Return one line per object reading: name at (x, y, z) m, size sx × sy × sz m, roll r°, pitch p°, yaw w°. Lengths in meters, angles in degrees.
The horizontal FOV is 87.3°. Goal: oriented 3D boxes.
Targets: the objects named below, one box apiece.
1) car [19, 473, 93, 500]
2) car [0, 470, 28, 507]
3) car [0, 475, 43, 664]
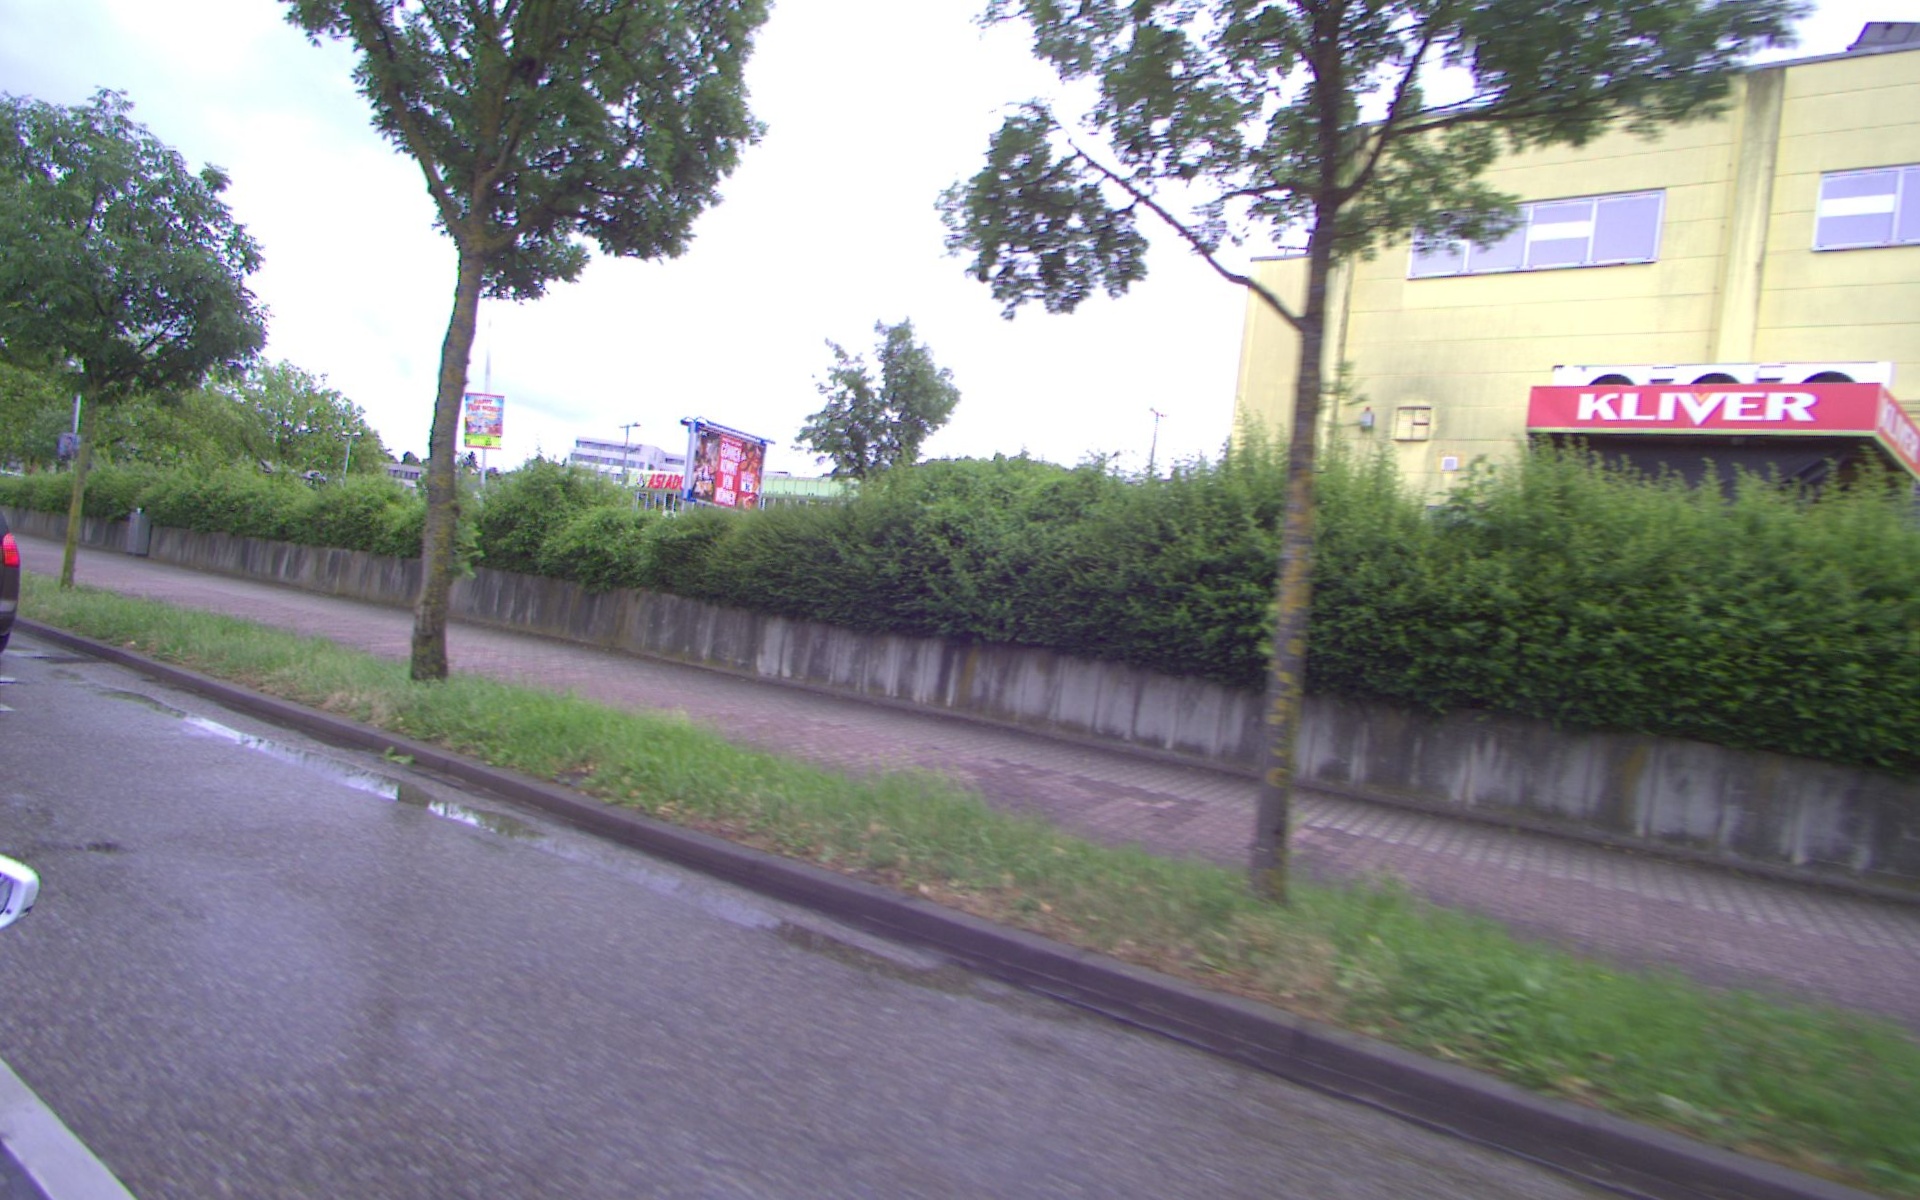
car at (-73.843, -9.248, 82.210) m, size 4.084 × 1.499 × 1.735 m, roll 7°, pitch 0°, yaw -10°
car at (-42.671, -5.022, 42.864) m, size 1.628 × 1.460 × 3.990 m, roll 7°, pitch 0°, yaw 33°
car at (-10.556, -0.524, 9.380) m, size 4.396 × 1.644 × 1.728 m, roll 7°, pitch 0°, yaw 32°
